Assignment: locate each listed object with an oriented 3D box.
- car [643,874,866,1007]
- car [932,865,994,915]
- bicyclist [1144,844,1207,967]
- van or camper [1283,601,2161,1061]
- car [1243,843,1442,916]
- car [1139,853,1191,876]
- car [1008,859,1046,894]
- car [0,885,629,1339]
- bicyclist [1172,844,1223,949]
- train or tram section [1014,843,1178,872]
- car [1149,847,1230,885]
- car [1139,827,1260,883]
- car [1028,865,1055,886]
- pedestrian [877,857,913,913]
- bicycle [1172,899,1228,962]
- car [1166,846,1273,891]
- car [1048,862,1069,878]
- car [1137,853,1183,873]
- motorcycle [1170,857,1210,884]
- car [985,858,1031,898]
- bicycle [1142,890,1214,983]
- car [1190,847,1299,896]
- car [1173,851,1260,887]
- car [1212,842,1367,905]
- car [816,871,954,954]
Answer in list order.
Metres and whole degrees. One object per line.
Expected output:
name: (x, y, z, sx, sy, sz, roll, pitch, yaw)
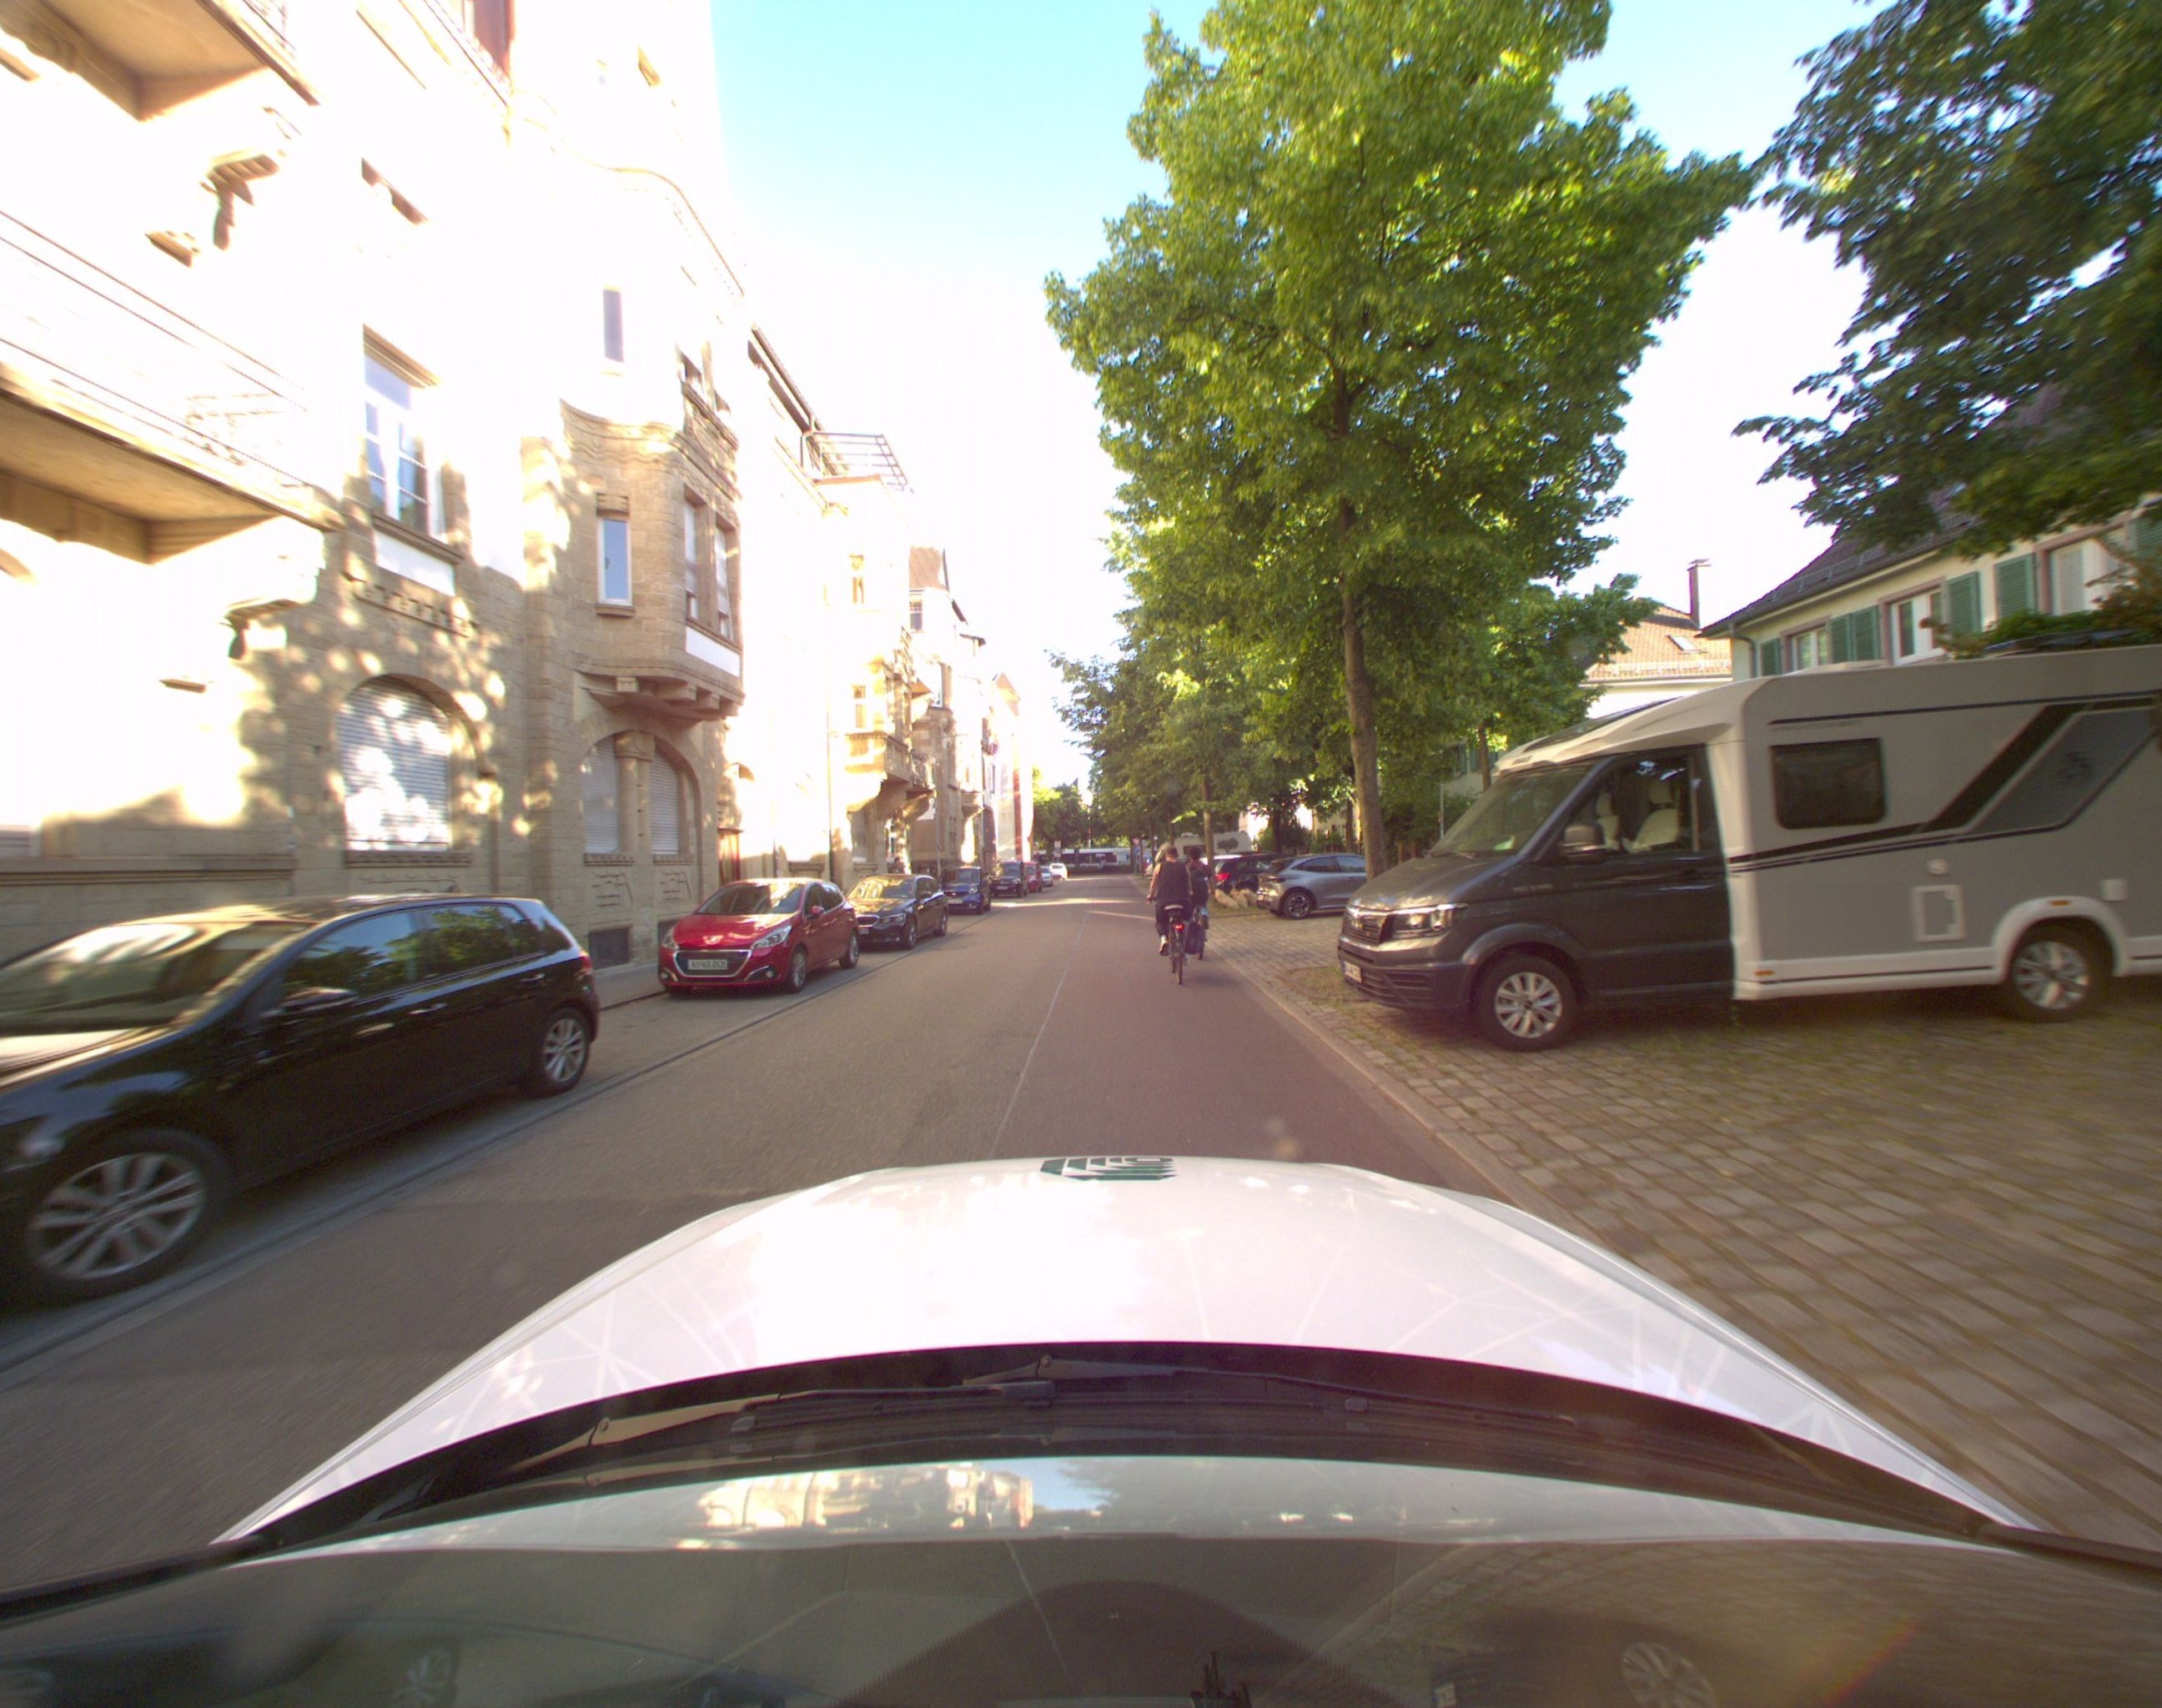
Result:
car: (-4.392, 1.073, 11.615, 1.624, 1.453, 3.836, -1, 0, -1)
car: (-3.808, 1.142, 26.700, 1.590, 1.489, 2.736, 1, 0, 0)
bicyclist: (1.230, 0.660, 10.763, 0.727, 1.548, 0.884, 0, -1, 1)
van or camper: (5.619, -0.203, 6.801, 7.117, 2.647, 2.467, -6, -1, 3)
car: (5.977, 0.573, 18.897, 4.022, 1.454, 1.689, -2, -1, -2)
car: (6.807, 0.879, 66.107, 3.975, 1.803, 1.833, -1, -1, -1)
car: (-3.049, 1.244, 46.680, 1.682, 1.826, 4.275, 0, 0, 2)
car: (-4.486, 0.970, 4.467, 1.690, 1.453, 4.027, -2, -1, 0)
bicyclist: (1.873, 0.661, 13.177, 0.686, 1.627, 0.999, -1, -1, 2)
train or tram section: (2.391, 0.468, 117.639, 23.890, 3.709, 4.256, -1, -1, -21)
car: (5.888, 0.664, 44.436, 4.070, 1.650, 1.640, -5, -1, -1)
car: (7.425, 0.064, 51.693, 7.126, 2.978, 2.463, -4, -1, -1)
car: (-2.771, 1.493, 57.678, 1.577, 1.343, 4.134, 0, 0, 2)
pedestrian: (-5.945, 0.977, 26.053, 0.934, 1.742, 0.735, -1, -1, 2)
bicycle: (1.854, 1.172, 12.879, 0.631, 0.799, 1.833, -3, 0, 2)
car: (5.648, 0.632, 33.492, 4.121, 1.600, 1.704, -3, -2, 3)
car: (-2.052, 1.474, 74.931, 1.577, 1.375, 4.134, 0, 0, 2)
car: (7.140, 0.821, 73.993, 3.975, 1.803, 1.833, -1, -1, -1)
motorcycle: (4.911, 0.749, 36.795, 1.587, 1.141, 0.677, -3, -1, 35)
car: (-3.512, 1.115, 39.755, 1.634, 1.783, 4.357, 0, 0, 2)
bicycle: (1.230, 1.020, 10.683, 0.735, 1.054, 1.956, 0, -1, 1)
car: (6.112, 0.687, 30.733, 3.757, 1.600, 1.692, -3, -2, 3)
car: (6.883, 0.778, 41.734, 4.126, 1.600, 1.701, -3, -2, -1)
car: (6.153, 0.594, 24.388, 4.205, 1.600, 1.692, -3, -2, 3)
car: (-3.993, 1.142, 17.409, 1.669, 1.430, 4.553, 0, 0, 2)
